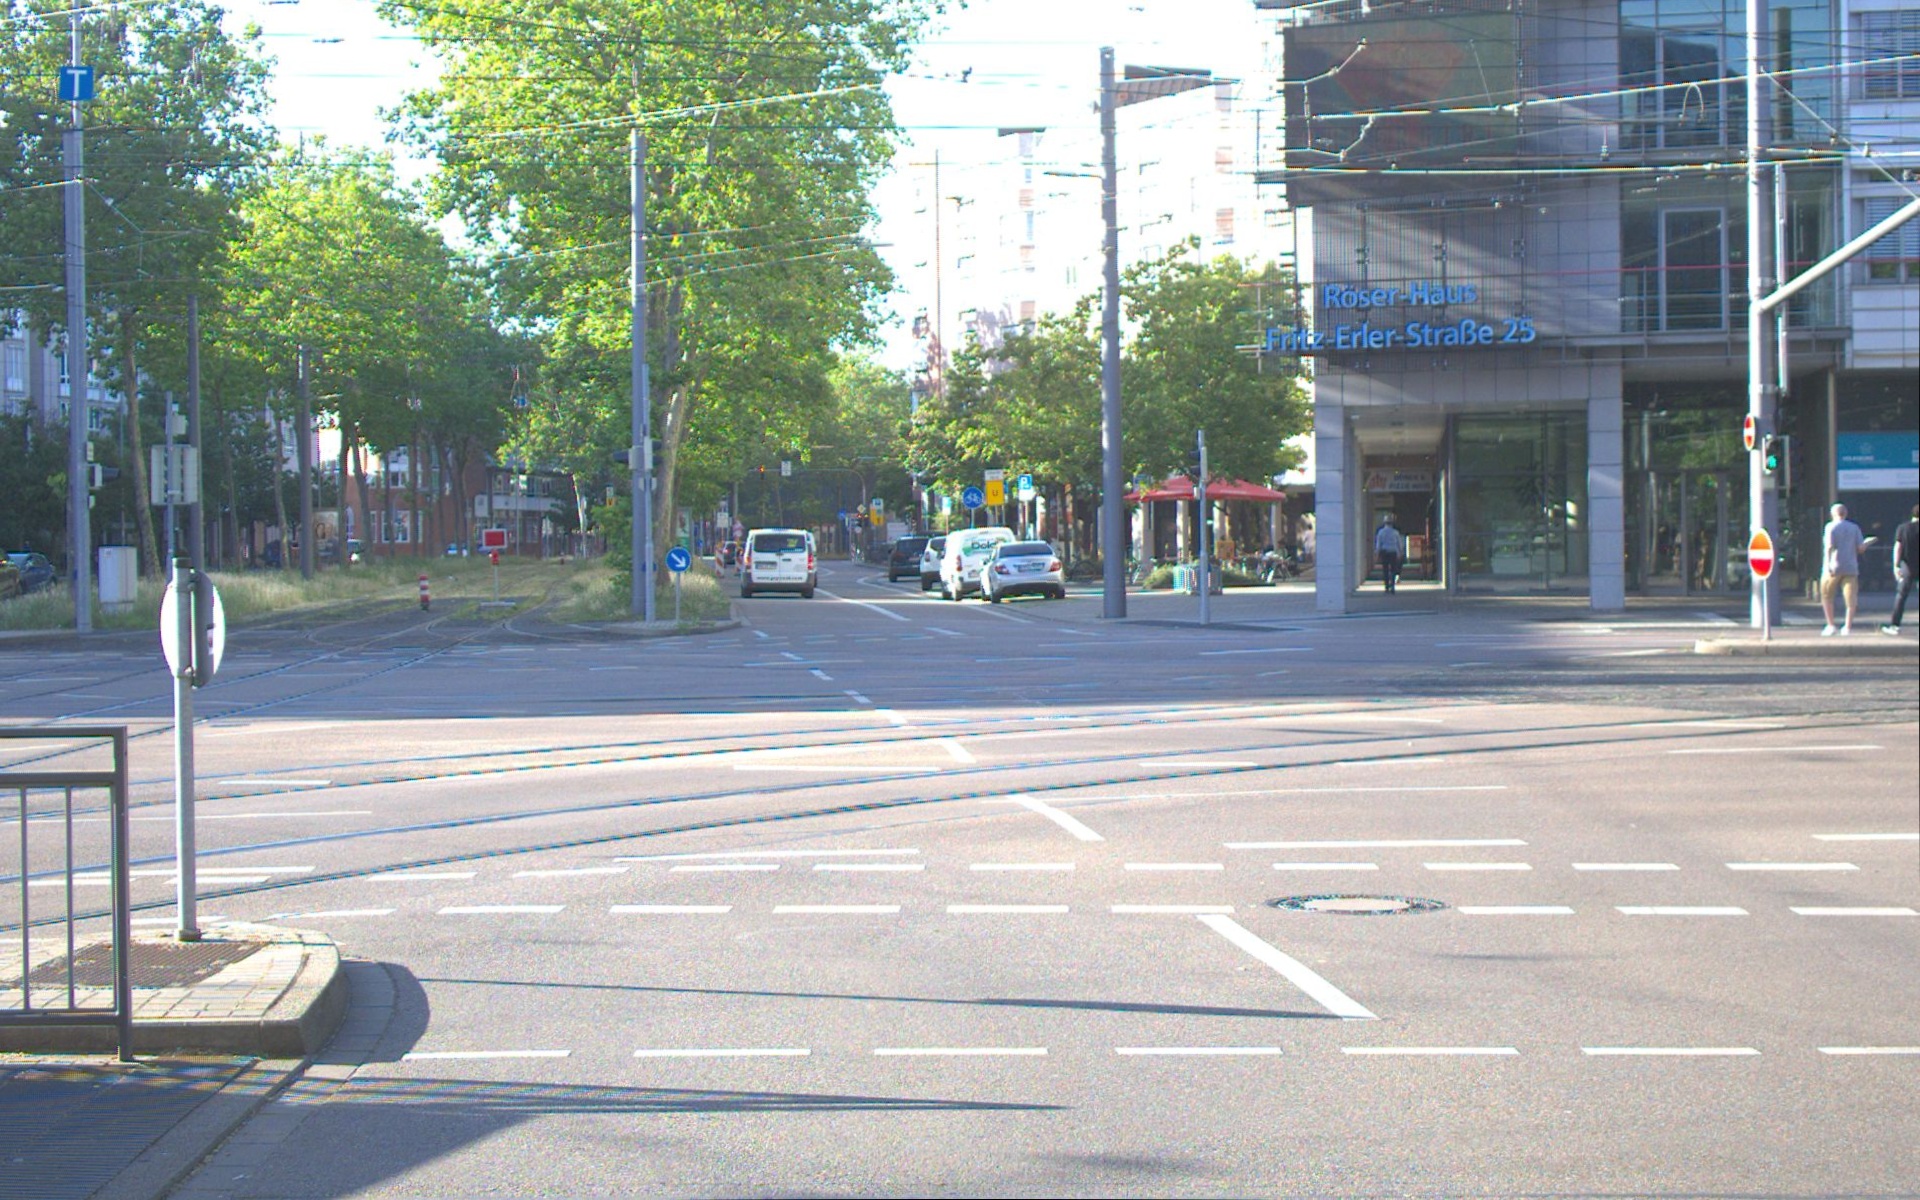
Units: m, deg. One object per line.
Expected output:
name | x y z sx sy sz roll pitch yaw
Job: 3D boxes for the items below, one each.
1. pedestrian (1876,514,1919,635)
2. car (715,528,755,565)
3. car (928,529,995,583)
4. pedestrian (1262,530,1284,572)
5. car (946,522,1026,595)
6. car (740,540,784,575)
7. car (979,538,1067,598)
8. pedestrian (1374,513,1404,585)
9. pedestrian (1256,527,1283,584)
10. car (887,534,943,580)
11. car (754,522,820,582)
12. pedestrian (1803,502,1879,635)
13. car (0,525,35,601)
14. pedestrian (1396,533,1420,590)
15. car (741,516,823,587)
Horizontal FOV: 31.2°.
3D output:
pedestrian | 13.386 -0.365 48.175 0.912 1.679 1.035 -1 1 7
car | -12.497 -2.960 191.355 1.993 2.007 4.000 -1 1 -1
car | 0.038 -1.358 105.213 1.993 1.612 4.000 -1 1 0
pedestrian | 9.682 -1.507 106.288 0.577 1.284 0.910 -1 1 -1
car | 0.650 -1.094 89.567 1.993 1.853 4.000 -1 1 -1
car | -8.445 -1.827 146.982 1.797 1.437 4.000 1 1 -2
car | 1.494 -0.785 82.772 1.993 1.371 4.000 -1 1 -1
pedestrian | 9.007 -1.067 72.208 0.612 1.502 0.579 -1 1 7
pedestrian | 9.439 -1.358 104.962 0.744 1.708 0.612 -1 1 -1
car | -1.640 -1.597 126.663 1.993 1.612 4.000 -1 1 0
car | -5.683 -1.584 113.146 1.993 1.905 4.000 -1 1 -1
pedestrian | 12.077 -0.436 47.155 0.864 1.782 0.871 -1 1 6
car | -21.664 -0.799 74.921 1.993 1.634 4.000 -1 1 -1
pedestrian | 11.891 -1.034 91.225 0.612 1.502 0.579 -1 1 7
car | -4.789 -1.322 93.306 1.961 1.842 5.330 -1 1 0
